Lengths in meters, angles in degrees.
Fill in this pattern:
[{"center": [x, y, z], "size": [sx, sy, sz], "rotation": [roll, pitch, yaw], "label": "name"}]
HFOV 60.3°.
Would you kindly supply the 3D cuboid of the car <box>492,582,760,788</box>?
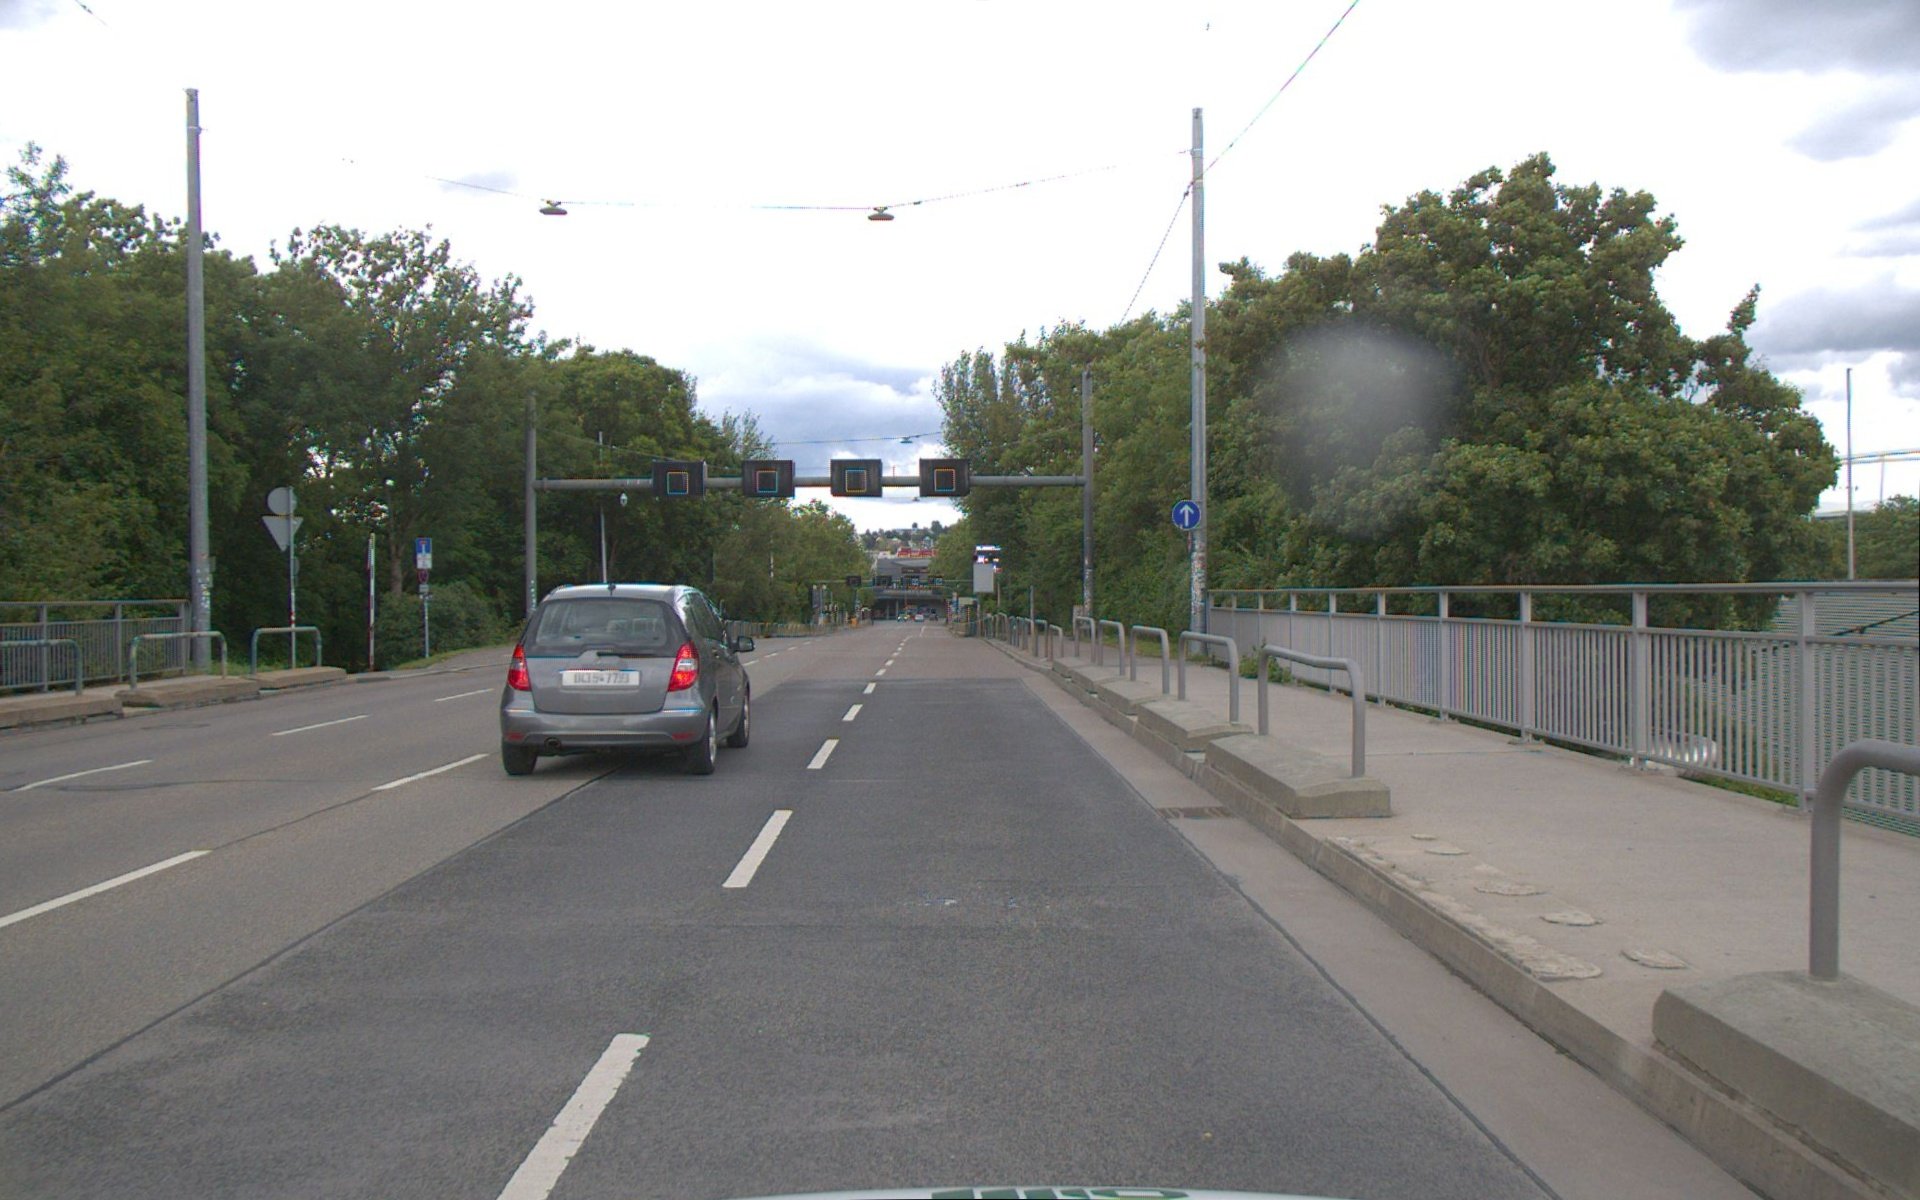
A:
[{"center": [-2.850, 0.647, 14.883], "size": [1.710, 1.577, 3.870], "rotation": [0, 1, -1], "label": "car"}]
